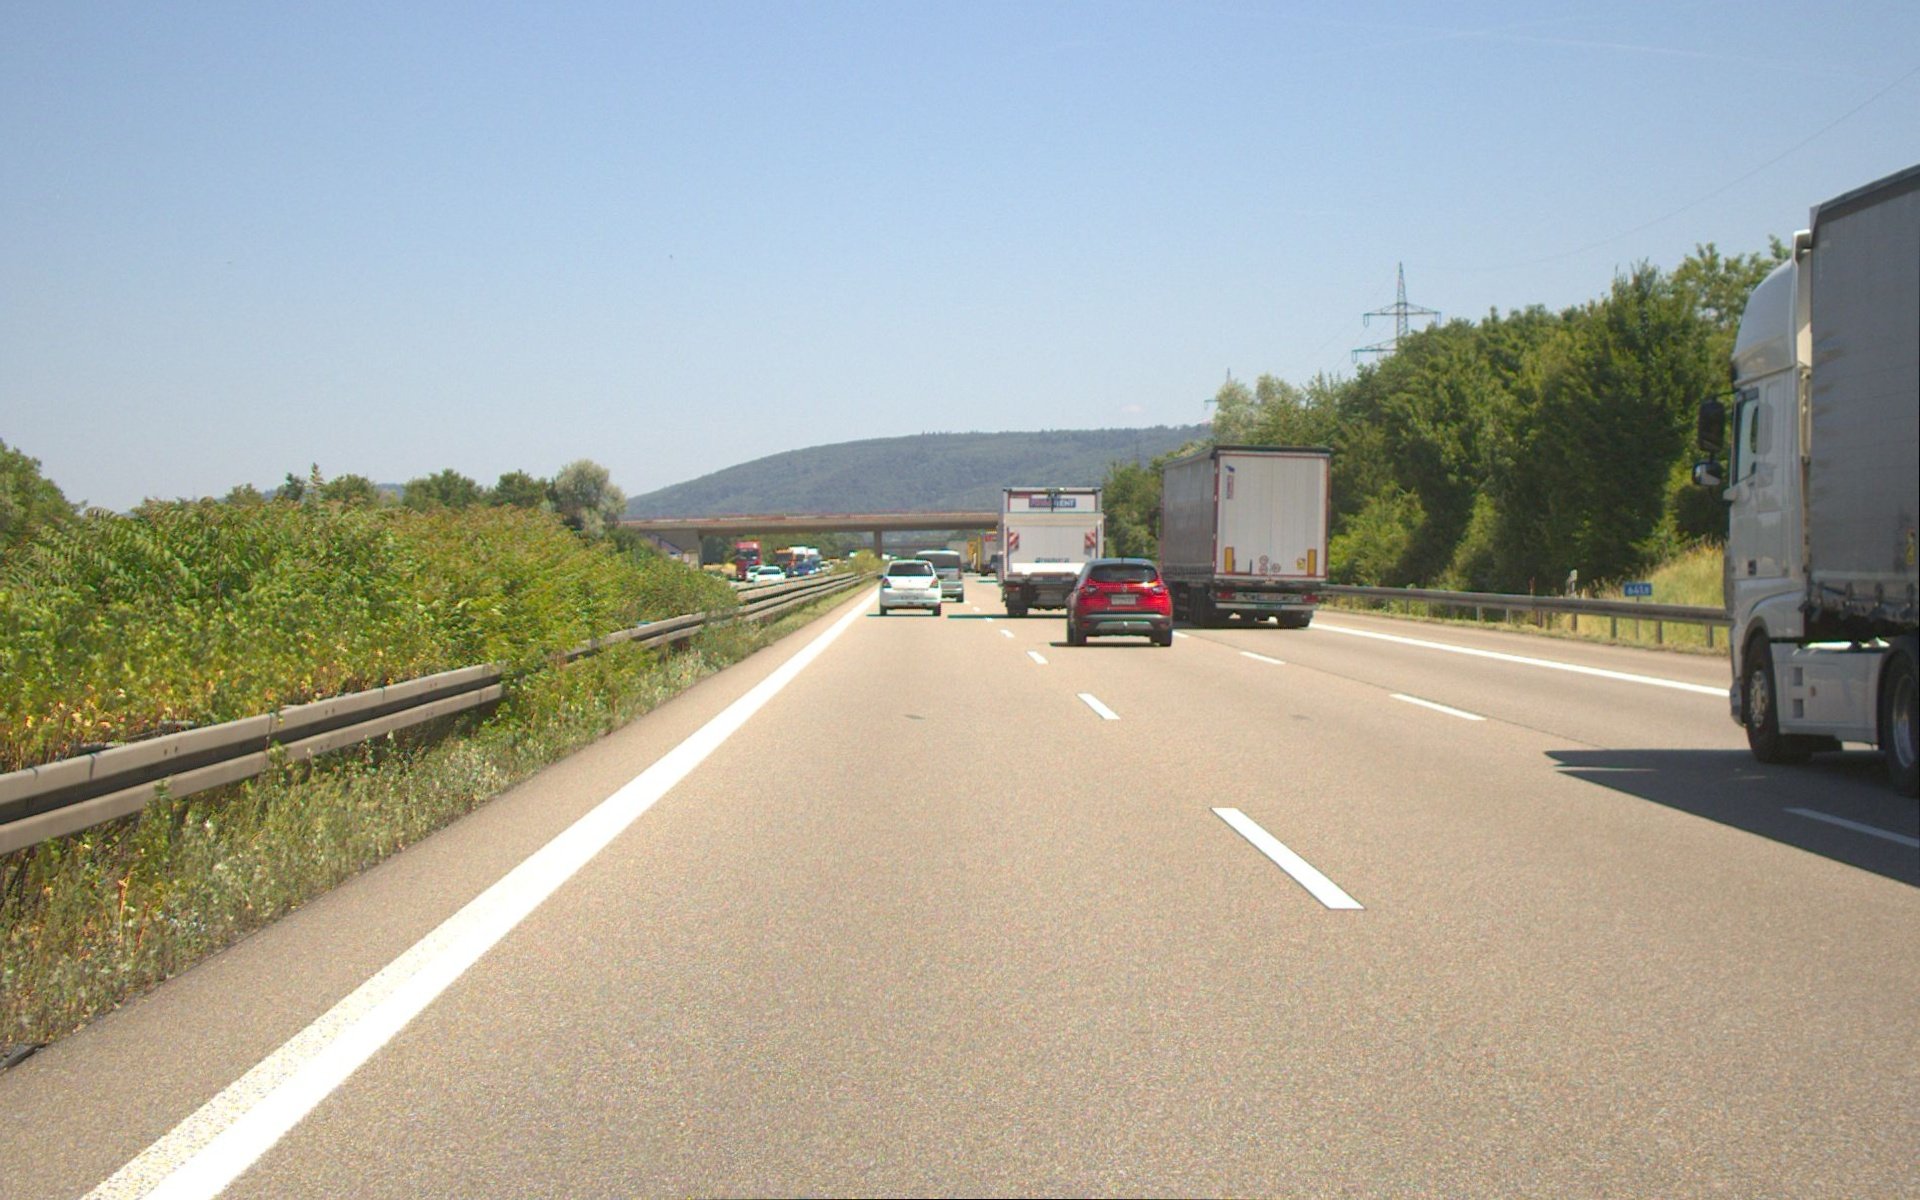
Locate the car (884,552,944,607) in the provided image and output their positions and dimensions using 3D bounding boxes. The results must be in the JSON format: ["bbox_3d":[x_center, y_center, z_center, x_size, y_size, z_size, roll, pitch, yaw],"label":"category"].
[{"bbox_3d":[-1.269,-0.582,94.677,1.607,1.462,4.000,0,1,-1],"label":"car"}]

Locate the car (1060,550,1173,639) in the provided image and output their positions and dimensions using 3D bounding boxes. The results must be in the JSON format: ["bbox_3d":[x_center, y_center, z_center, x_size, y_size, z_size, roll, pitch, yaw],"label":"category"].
[{"bbox_3d":[2.788,-0.118,61.901,1.803,1.540,4.000,0,1,-1],"label":"car"}]

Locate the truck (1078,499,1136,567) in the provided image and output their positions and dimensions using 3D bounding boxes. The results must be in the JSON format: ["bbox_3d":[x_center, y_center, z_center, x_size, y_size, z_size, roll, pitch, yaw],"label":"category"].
[{"bbox_3d":[7.135,-3.258,167.900,2.221,3.198,10.385,-1,1,-1],"label":"truck"}]

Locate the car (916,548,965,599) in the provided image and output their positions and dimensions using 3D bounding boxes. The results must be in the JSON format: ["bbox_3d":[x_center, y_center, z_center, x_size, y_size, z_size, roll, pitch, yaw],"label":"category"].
[{"bbox_3d":[-0.734,-0.982,125.758,1.760,1.844,4.000,0,1,-1],"label":"car"}]

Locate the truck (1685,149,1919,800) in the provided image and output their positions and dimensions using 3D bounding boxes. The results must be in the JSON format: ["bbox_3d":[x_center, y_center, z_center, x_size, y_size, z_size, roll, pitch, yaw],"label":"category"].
[{"bbox_3d":[7.283,-0.828,24.763,2.736,4.105,6.125,0,1,-1],"label":"truck"}]

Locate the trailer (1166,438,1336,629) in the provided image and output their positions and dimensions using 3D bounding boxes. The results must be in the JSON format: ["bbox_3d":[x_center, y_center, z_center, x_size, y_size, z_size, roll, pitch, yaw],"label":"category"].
[{"bbox_3d":[6.760,-1.536,81.815,2.789,4.149,13.575,-1,1,0],"label":"trailer"}]

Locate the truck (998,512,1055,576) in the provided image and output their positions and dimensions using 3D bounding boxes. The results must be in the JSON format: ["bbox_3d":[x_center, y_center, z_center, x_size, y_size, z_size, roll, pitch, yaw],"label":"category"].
[{"bbox_3d":[4.740,-3.974,246.963,3.520,4.401,14.592,-2,1,-1],"label":"truck"}]

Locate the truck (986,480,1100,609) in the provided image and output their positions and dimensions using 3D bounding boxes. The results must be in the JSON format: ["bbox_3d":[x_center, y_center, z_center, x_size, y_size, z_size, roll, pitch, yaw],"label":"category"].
[{"bbox_3d":[2.200,-1.482,93.954,2.782,3.361,8.128,0,1,-1],"label":"truck"}]

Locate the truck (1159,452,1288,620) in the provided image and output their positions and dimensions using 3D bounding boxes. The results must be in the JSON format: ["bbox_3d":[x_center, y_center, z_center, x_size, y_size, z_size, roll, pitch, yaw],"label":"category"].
[{"bbox_3d":[6.742,-1.627,88.583,2.795,4.149,5.723,-1,1,0],"label":"truck"}]

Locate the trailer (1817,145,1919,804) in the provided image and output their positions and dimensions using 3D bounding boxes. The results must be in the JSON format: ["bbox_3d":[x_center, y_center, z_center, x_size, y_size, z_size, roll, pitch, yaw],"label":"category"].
[{"bbox_3d":[7.386,-0.722,17.198,2.736,4.092,13.123,0,1,-1],"label":"trailer"}]
